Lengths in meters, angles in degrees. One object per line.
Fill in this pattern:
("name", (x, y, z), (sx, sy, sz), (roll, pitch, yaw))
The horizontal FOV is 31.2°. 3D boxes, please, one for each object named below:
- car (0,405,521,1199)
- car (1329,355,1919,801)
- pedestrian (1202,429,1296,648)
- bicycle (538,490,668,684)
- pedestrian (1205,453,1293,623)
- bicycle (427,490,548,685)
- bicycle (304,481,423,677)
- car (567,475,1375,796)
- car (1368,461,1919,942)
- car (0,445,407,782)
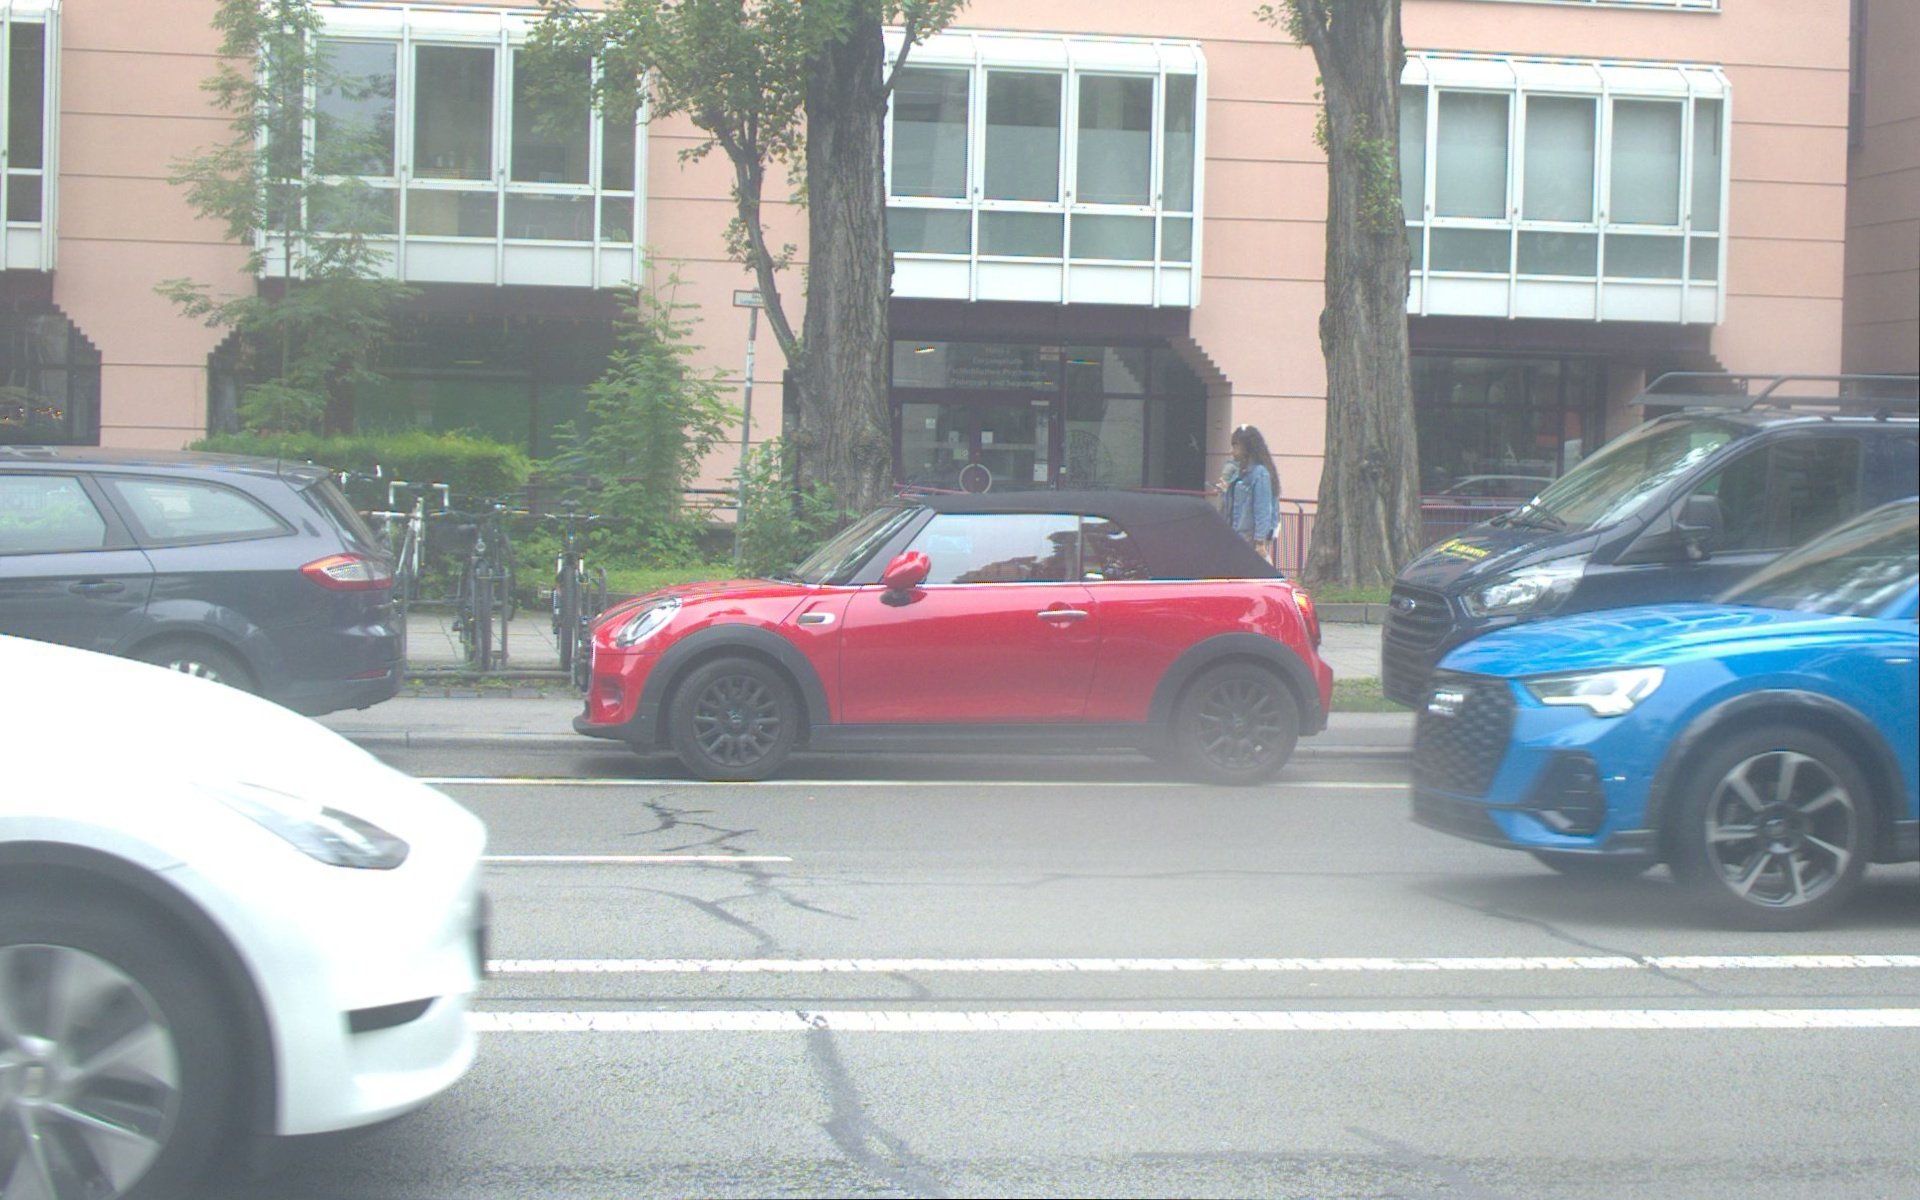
("car", (-3.274, 0.380, 6.870), (4.622, 1.570, 2.001), (1, 4, -10))
("car", (4.948, -0.118, 18.512), (5.477, 2.189, 2.024), (1, 3, -10))
("pedestrian", (2.235, -0.485, 26.636), (0.557, 1.657, 0.621), (1, 3, -6))
("bicycle", (-2.248, -0.104, 21.472), (0.674, 1.120, 1.730), (1, 3, -10))
("pedestrian", (2.961, -0.643, 35.304), (0.707, 1.707, 0.732), (1, 2, -7))
("bicycle", (-2.950, -0.100, 21.363), (0.674, 1.120, 1.742), (1, 3, -10))
("bicycle", (-3.681, -0.153, 21.230), (0.674, 1.120, 1.742), (1, 3, -10))
("car", (-0.016, 0.154, 17.401), (3.859, 1.443, 1.679), (1, 3, -8))
("car", (3.904, 0.353, 12.562), (4.407, 1.573, 1.872), (1, 1, -9))
("car", (-5.052, 0.007, 16.721), (4.607, 1.523, 1.794), (1, 3, -10))
